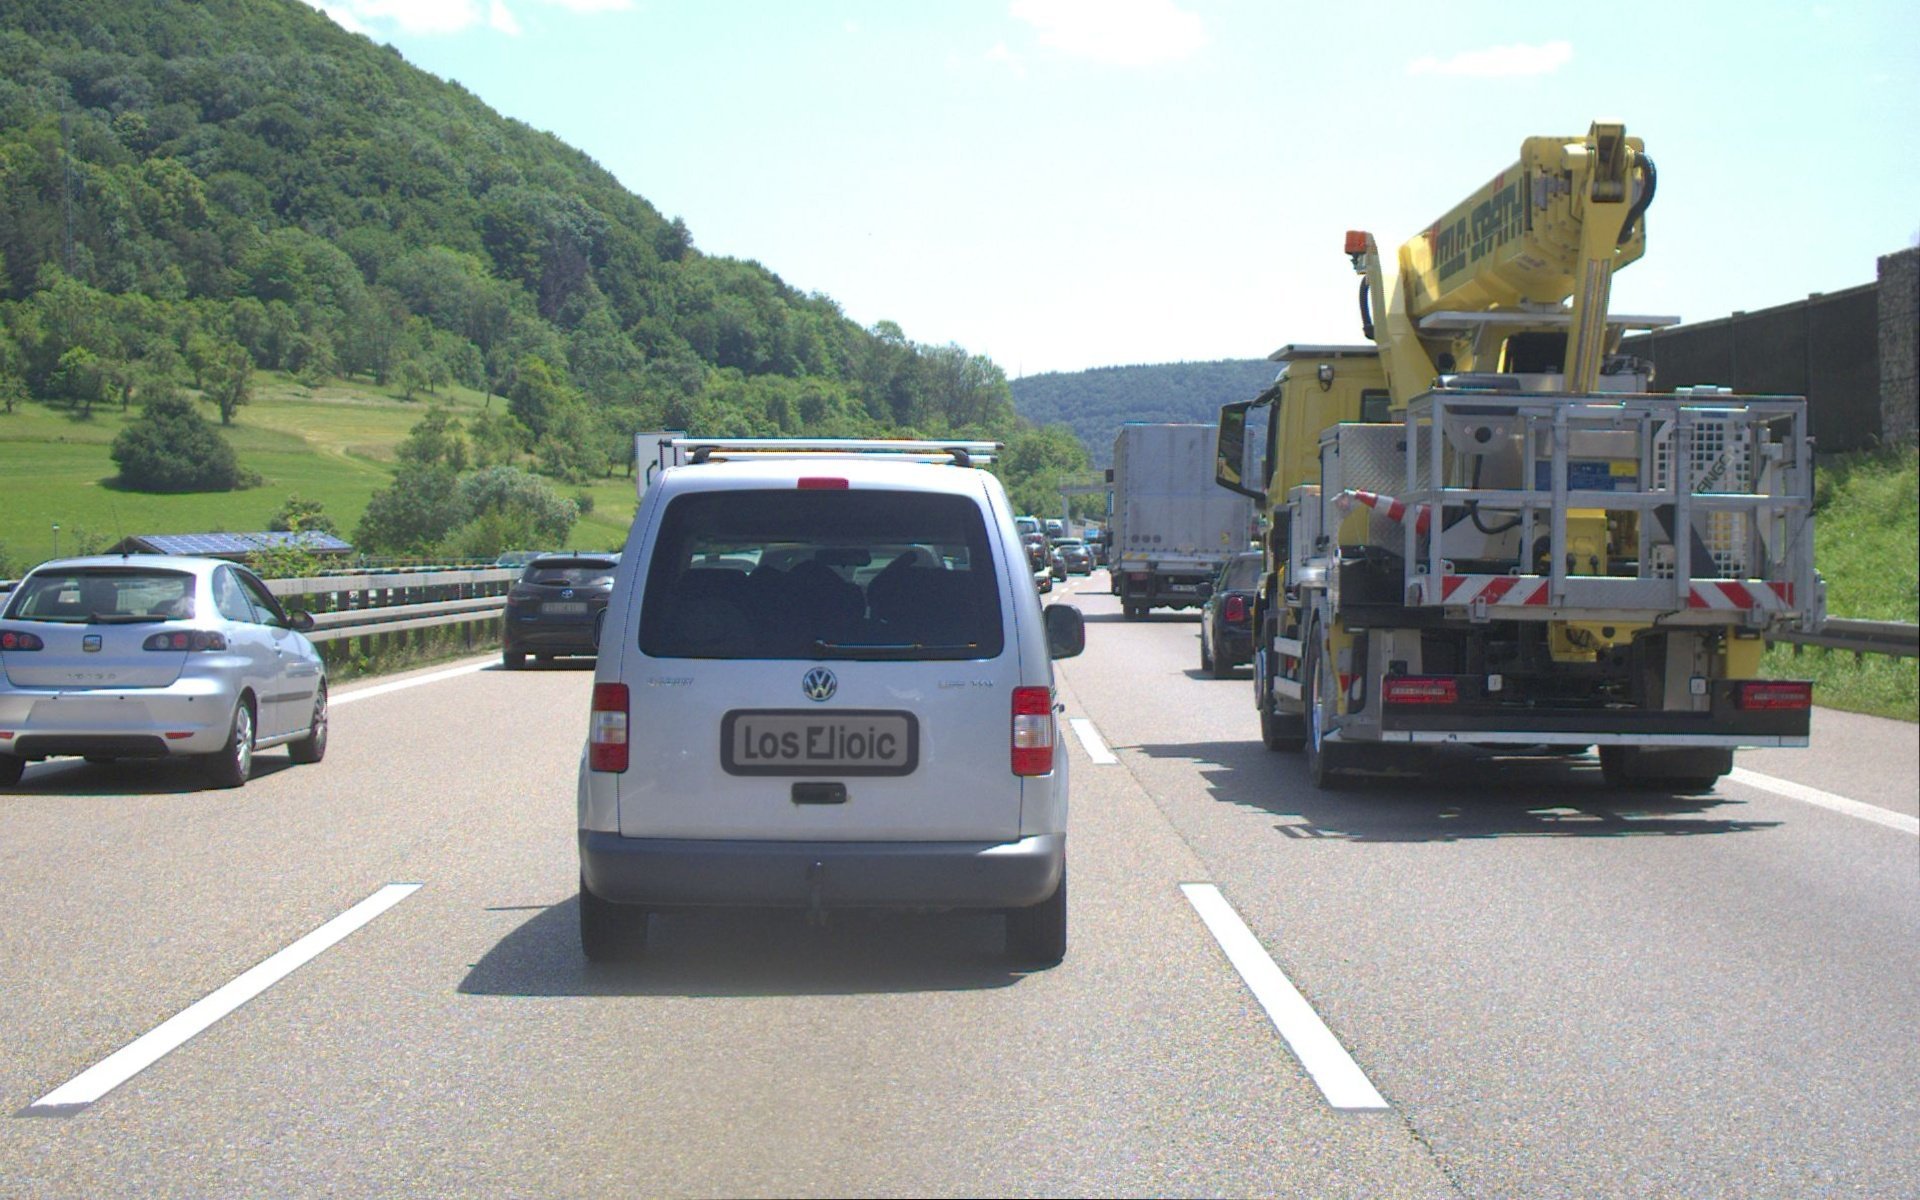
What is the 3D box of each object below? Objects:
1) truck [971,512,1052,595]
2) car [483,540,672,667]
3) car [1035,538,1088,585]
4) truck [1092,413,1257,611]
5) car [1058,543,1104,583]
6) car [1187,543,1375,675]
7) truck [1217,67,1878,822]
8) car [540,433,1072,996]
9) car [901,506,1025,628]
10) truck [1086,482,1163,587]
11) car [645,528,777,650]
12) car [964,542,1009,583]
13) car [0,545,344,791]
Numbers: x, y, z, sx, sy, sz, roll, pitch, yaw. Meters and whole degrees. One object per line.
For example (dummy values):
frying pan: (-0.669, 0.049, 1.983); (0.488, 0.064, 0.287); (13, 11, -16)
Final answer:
truck: (1.585, -1.475, 108.194); (2.390, 2.532, 5.940); (0, 1, -1)
car: (-4.696, 0.007, 42.703); (1.925, 1.494, 4.000); (1, 1, -1)
car: (4.035, -1.530, 136.891); (1.993, 1.799, 4.000); (1, 0, 1)
truck: (4.332, -1.748, 70.967); (2.940, 3.810, 8.236); (1, 0, 1)
car: (5.560, -1.699, 157.827); (1.993, 1.799, 4.000); (1, 0, 1)
car: (3.673, 0.065, 39.900); (1.786, 1.453, 3.771); (0, 1, -1)
truck: (3.396, -0.885, 22.292); (2.704, 3.929, 8.722); (0, 1, -1)
car: (-0.529, 0.346, 13.400); (1.756, 1.861, 4.000); (0, 1, -1)
car: (0.025, -0.568, 57.430); (1.993, 1.969, 4.000); (0, 1, -1)
truck: (5.204, -2.049, 109.456); (1.993, 3.240, 6.800); (1, 0, -1)
car: (-4.253, -0.213, 59.307); (1.993, 2.007, 4.000); (-1, 1, -1)
car: (1.224, -1.704, 156.093); (1.993, 1.799, 4.000); (1, 0, 1)
car: (-5.169, 0.370, 22.190); (1.695, 1.440, 3.862); (0, 1, 0)
